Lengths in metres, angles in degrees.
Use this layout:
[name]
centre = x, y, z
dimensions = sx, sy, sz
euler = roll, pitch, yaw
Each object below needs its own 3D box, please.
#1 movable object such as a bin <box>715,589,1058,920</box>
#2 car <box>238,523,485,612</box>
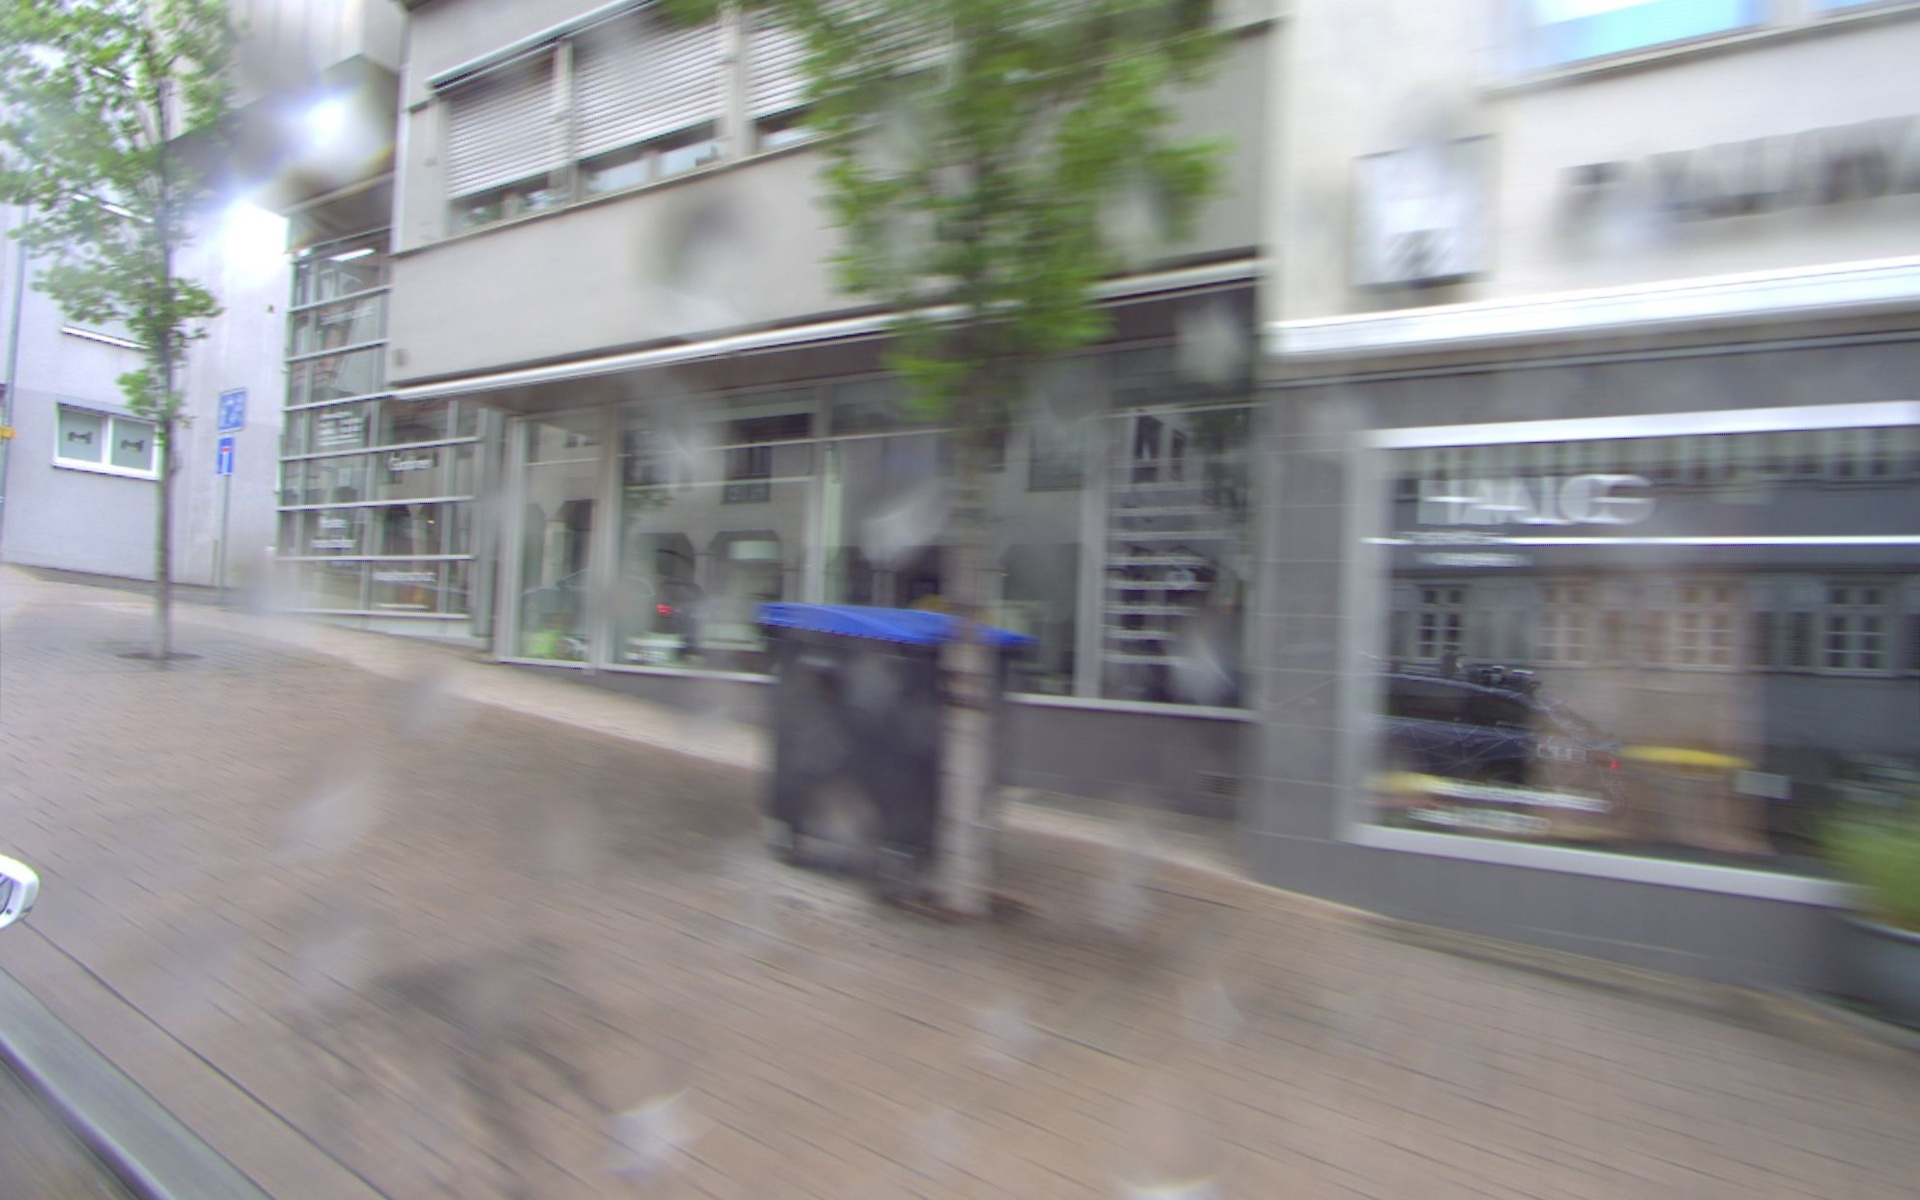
[movable object such as a bin]
centre = -0.348, 0.704, 5.219
dimensions = 1.153, 1.352, 1.235
euler = 7, 2, 32
[car]
centre = -11.537, -0.582, 19.640
dimensions = 1.714, 1.473, 3.764
euler = 5, 2, 30
